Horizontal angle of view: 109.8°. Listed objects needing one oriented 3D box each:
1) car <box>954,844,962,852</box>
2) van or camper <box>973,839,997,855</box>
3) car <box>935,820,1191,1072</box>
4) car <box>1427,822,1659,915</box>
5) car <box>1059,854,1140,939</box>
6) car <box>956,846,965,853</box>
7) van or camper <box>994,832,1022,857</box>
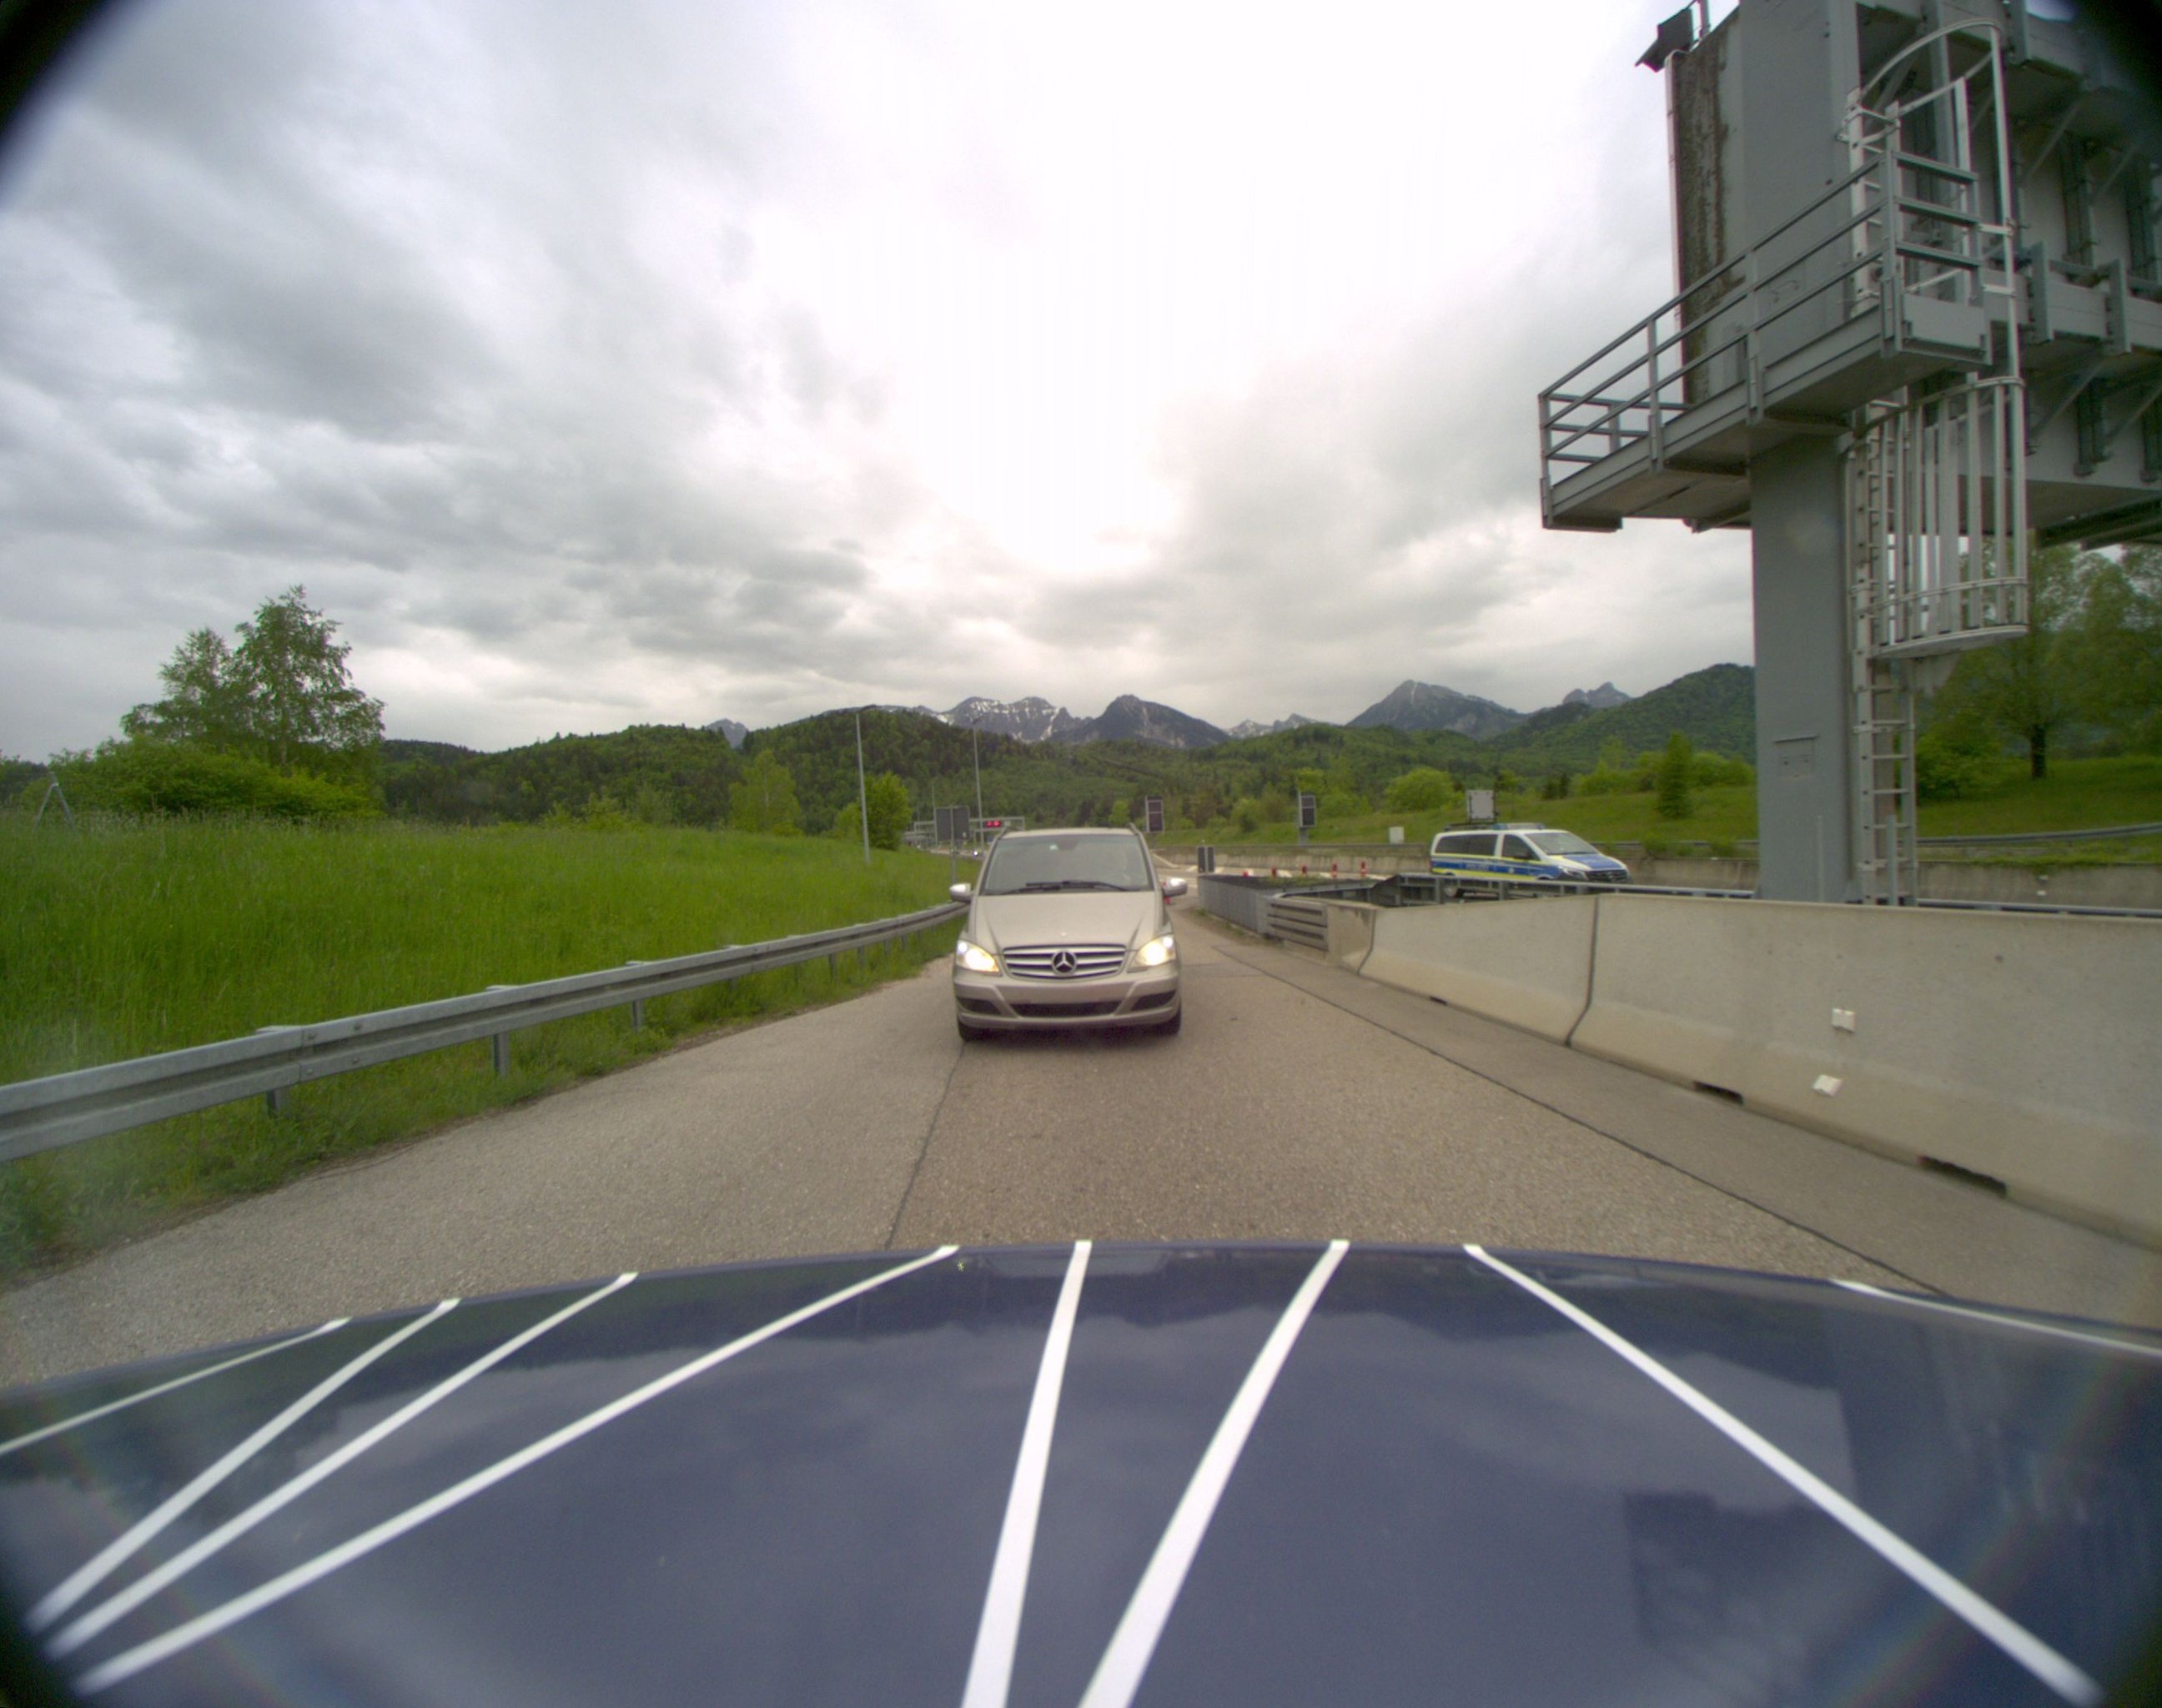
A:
[{"bbox_3d":[-29.871,-1.355,184.197,1.868,1.861,3.995,-1,1,-11],"label":"car"},{"bbox_3d":[-17.376,-1.240,137.086,3.345,2.629,8.189,-1,1,-13],"label":"van or camper"},{"bbox_3d":[-0.097,0.646,8.413,1.862,1.833,5.616,-1,1,1],"label":"car"},{"bbox_3d":[11.337,0.284,19.205,2.106,2.002,5.045,-2,1,-13],"label":"car"},{"bbox_3d":[0.413,0.851,17.202,1.591,1.662,4.000,-1,0,1],"label":"car"},{"bbox_3d":[-29.042,-1.143,183.298,1.722,1.629,4.342,-1,1,-15],"label":"car"},{"bbox_3d":[-10.127,-1.287,104.518,2.585,3.372,7.345,-2,1,-14],"label":"van or camper"}]
